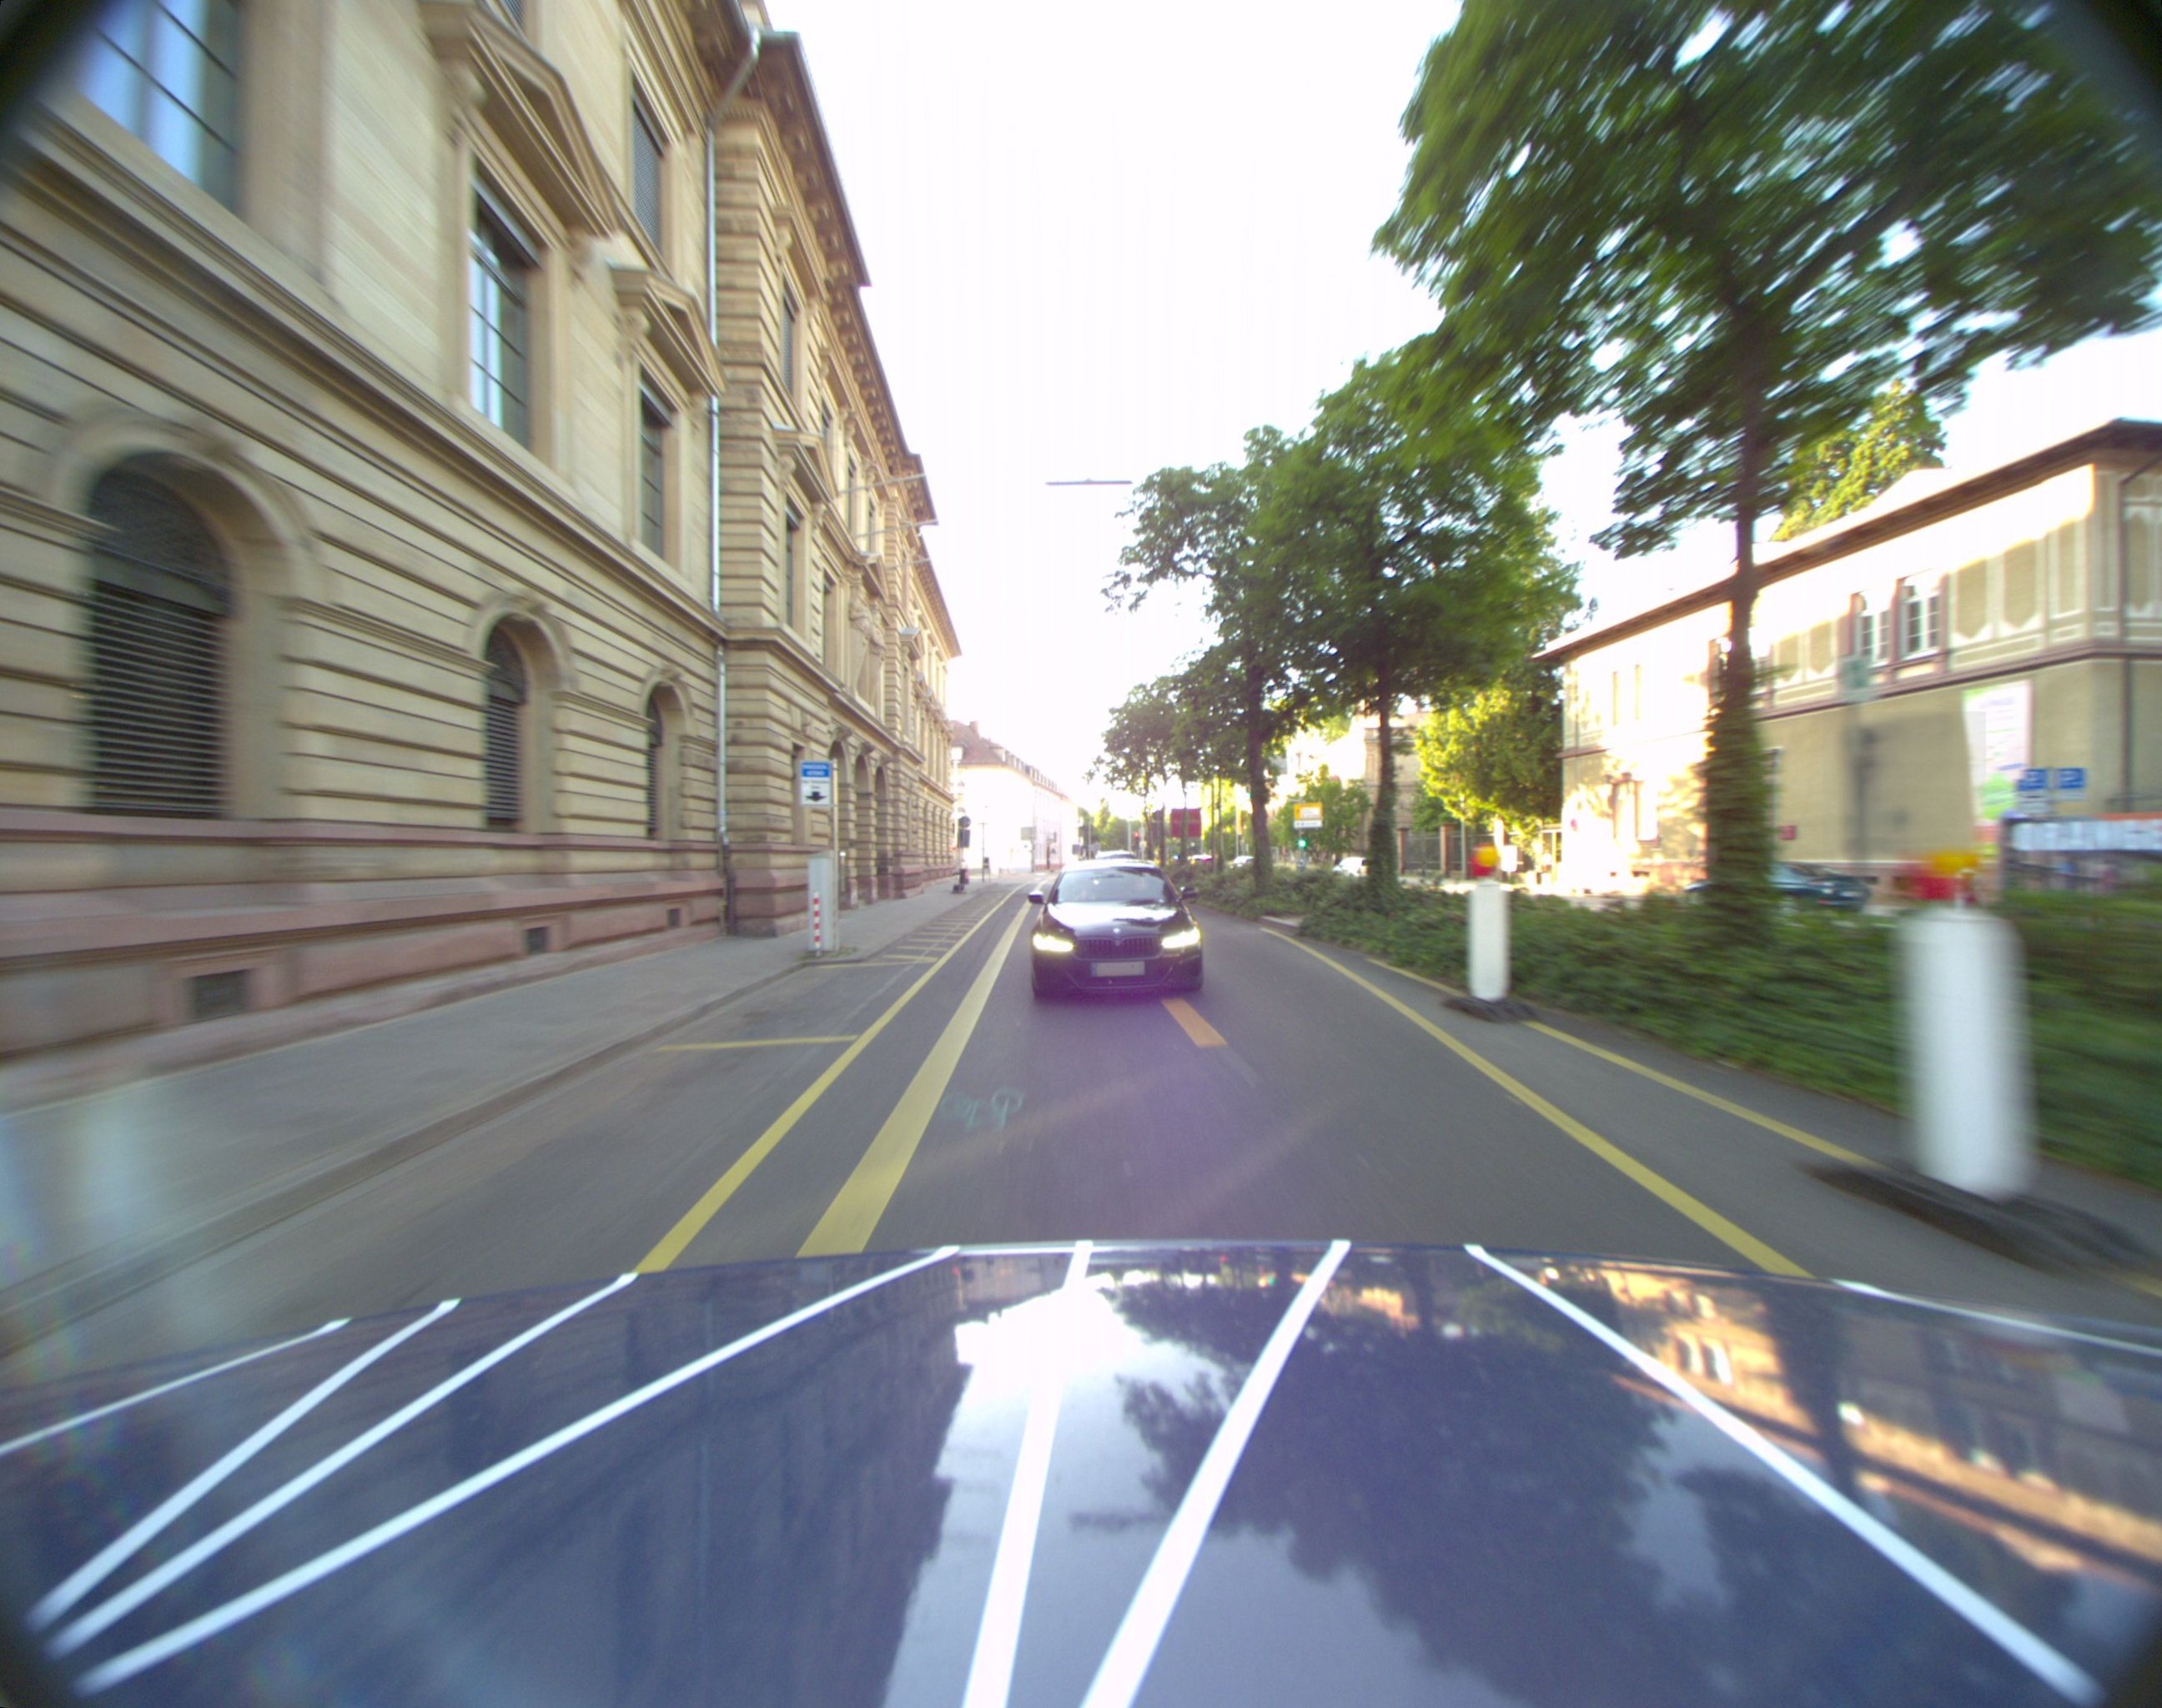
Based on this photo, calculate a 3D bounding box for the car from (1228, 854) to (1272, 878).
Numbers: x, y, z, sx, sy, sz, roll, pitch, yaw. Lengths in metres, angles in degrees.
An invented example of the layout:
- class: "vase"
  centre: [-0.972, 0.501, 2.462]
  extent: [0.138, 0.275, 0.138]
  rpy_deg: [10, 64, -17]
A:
- class: "car"
  centre: [11.174, 0.774, 50.553]
  extent: [1.847, 1.542, 4.174]
  rpy_deg: [1, 0, -2]

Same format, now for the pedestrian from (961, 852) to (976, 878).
- class: "pedestrian"
  centre: [-8.977, 0.883, 60.495]
  extent: [0.785, 2.002, 0.996]
  rpy_deg: [-1, 0, 21]

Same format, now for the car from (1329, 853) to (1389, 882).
- class: "car"
  centre: [16.144, 0.804, 44.409]
  extent: [1.749, 1.538, 4.370]
  rpy_deg: [-2, -1, -2]

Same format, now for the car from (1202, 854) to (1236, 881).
- class: "car"
  centre: [8.232, 0.757, 45.063]
  extent: [1.848, 1.538, 4.123]
  rpy_deg: [0, 0, 12]

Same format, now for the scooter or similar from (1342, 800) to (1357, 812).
- class: "scooter or similar"
  centre: [18.995, -3.392, 53.775]
  extent: [0.679, 0.773, 1.028]
  rpy_deg: [-1, 0, 0]

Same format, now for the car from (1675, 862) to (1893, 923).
- class: "car"
  centre: [17.430, 0.897, 19.135]
  extent: [1.684, 1.343, 3.885]
  rpy_deg: [1, 0, -5]

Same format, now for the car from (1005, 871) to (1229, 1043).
- class: "car"
  centre: [0.418, 0.978, 9.134]
  extent: [1.964, 1.378, 4.782]
  rpy_deg: [-1, 0, 2]

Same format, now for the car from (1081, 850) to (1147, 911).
- class: "car"
  centre: [1.036, 0.759, 23.783]
  extent: [1.838, 1.674, 4.224]
  rpy_deg: [-2, 0, 3]

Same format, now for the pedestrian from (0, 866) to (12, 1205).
- class: "pedestrian"
  centre: [-5.368, 0.730, 2.983]
  extent: [0.819, 1.755, 1.038]
  rpy_deg: [-2, 0, 2]

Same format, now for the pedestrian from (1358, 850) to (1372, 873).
- class: "pedestrian"
  centre: [20.300, 0.537, 54.299]
  extent: [0.737, 1.569, 0.762]
  rpy_deg: [-1, 0, 0]
